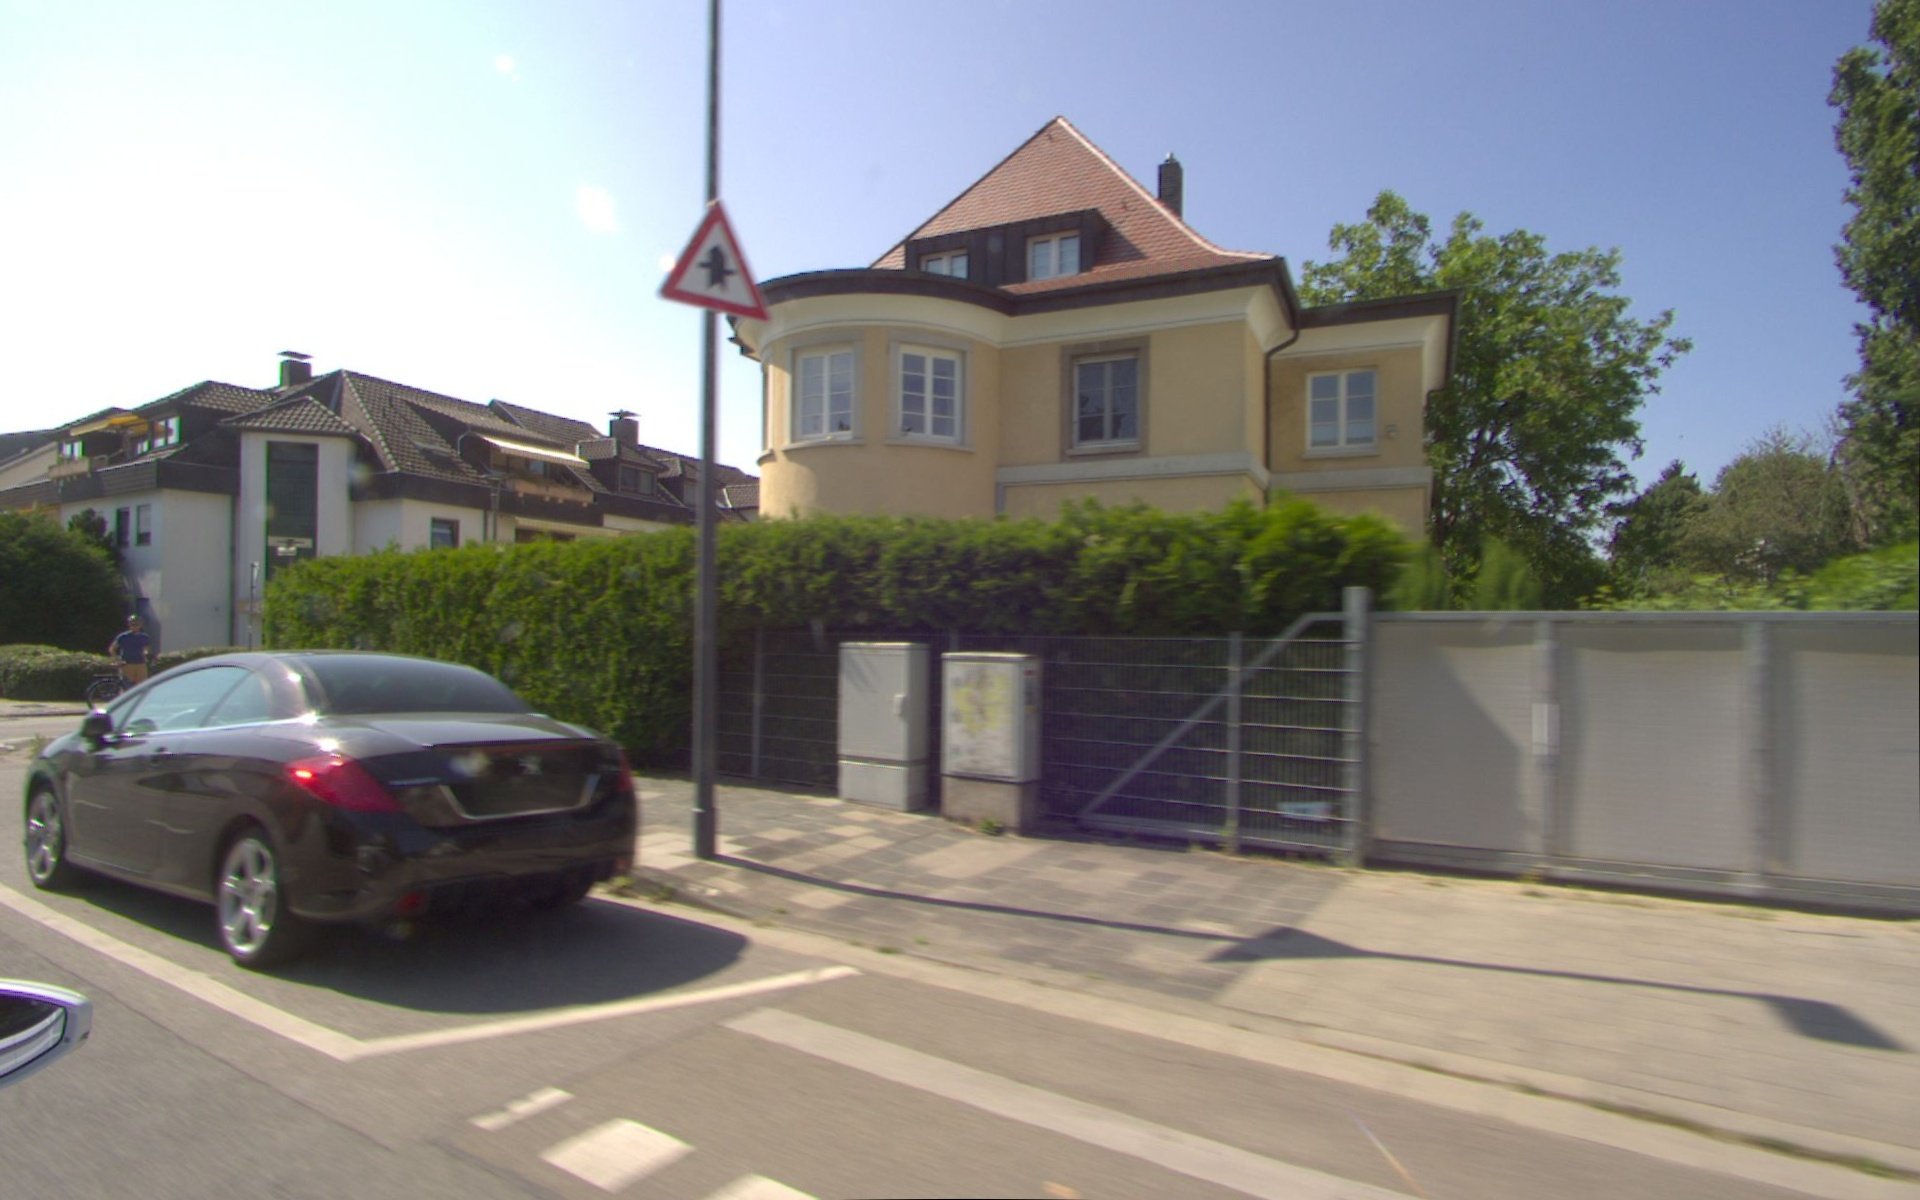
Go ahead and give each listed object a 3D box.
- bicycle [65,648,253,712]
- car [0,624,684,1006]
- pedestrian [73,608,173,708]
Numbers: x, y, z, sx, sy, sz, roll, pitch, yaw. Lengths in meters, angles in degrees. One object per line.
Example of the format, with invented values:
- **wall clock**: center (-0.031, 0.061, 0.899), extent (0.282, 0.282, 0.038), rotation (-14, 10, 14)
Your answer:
- **bicycle**: center (-15.378, 1.515, 19.335), extent (2.669, 1.173, 0.861), rotation (1, -2, -25)
- **car**: center (-3.798, 0.946, 5.794), extent (4.282, 1.485, 1.736), rotation (-1, -5, 31)
- **pedestrian**: center (-16.211, 1.108, 19.419), extent (1.166, 1.896, 0.902), rotation (0, -1, 0)
